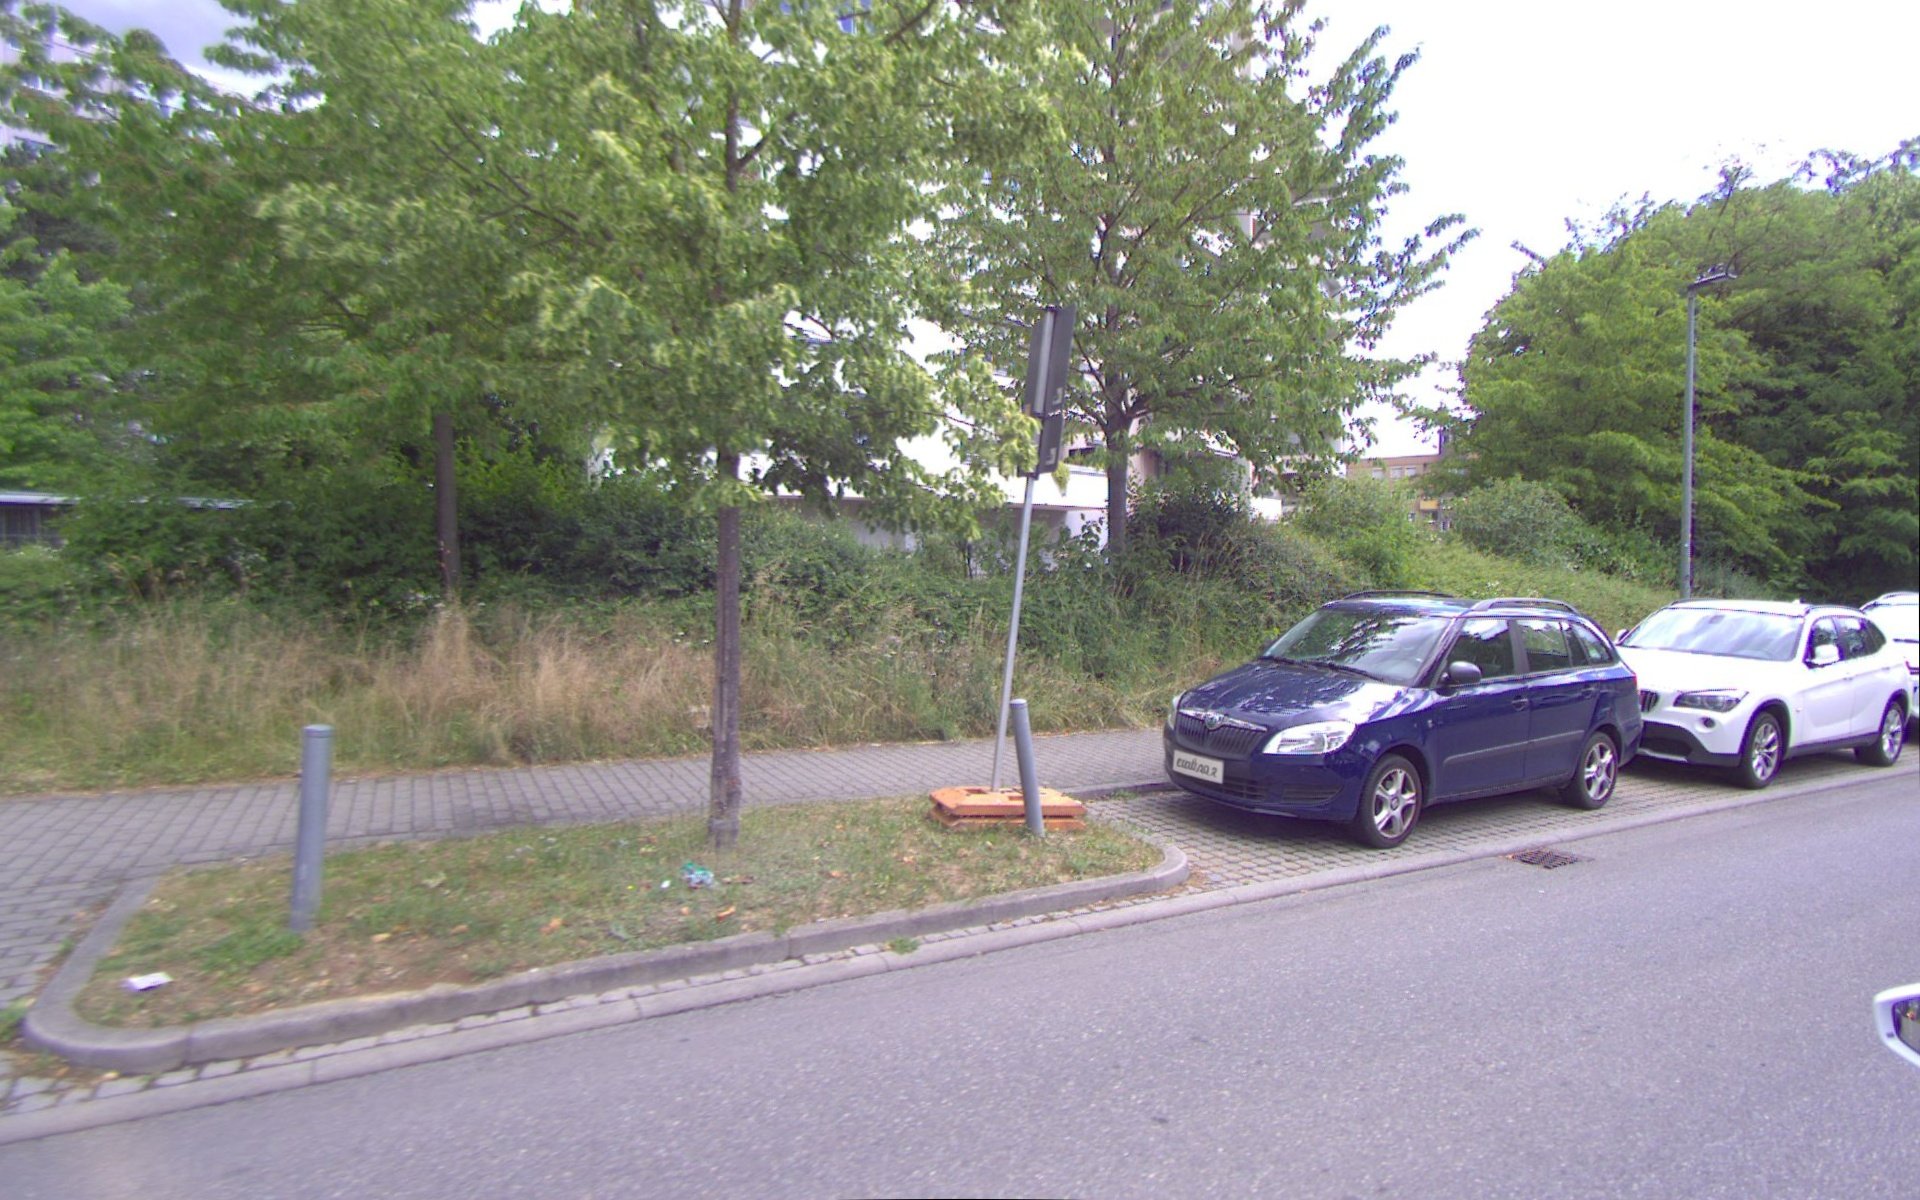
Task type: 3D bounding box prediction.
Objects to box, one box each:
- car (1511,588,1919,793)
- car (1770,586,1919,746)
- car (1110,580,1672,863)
[{"bbox_3d":[7.424,0.718,9.719,4.180,1.532,1.681,0,4,-30],"label":"car"},{"bbox_3d":[12.255,0.736,12.534,4.384,1.687,1.798,0,4,-30],"label":"car"},{"bbox_3d":[3.187,0.678,7.305,3.905,1.508,1.682,0,4,-29],"label":"car"}]
